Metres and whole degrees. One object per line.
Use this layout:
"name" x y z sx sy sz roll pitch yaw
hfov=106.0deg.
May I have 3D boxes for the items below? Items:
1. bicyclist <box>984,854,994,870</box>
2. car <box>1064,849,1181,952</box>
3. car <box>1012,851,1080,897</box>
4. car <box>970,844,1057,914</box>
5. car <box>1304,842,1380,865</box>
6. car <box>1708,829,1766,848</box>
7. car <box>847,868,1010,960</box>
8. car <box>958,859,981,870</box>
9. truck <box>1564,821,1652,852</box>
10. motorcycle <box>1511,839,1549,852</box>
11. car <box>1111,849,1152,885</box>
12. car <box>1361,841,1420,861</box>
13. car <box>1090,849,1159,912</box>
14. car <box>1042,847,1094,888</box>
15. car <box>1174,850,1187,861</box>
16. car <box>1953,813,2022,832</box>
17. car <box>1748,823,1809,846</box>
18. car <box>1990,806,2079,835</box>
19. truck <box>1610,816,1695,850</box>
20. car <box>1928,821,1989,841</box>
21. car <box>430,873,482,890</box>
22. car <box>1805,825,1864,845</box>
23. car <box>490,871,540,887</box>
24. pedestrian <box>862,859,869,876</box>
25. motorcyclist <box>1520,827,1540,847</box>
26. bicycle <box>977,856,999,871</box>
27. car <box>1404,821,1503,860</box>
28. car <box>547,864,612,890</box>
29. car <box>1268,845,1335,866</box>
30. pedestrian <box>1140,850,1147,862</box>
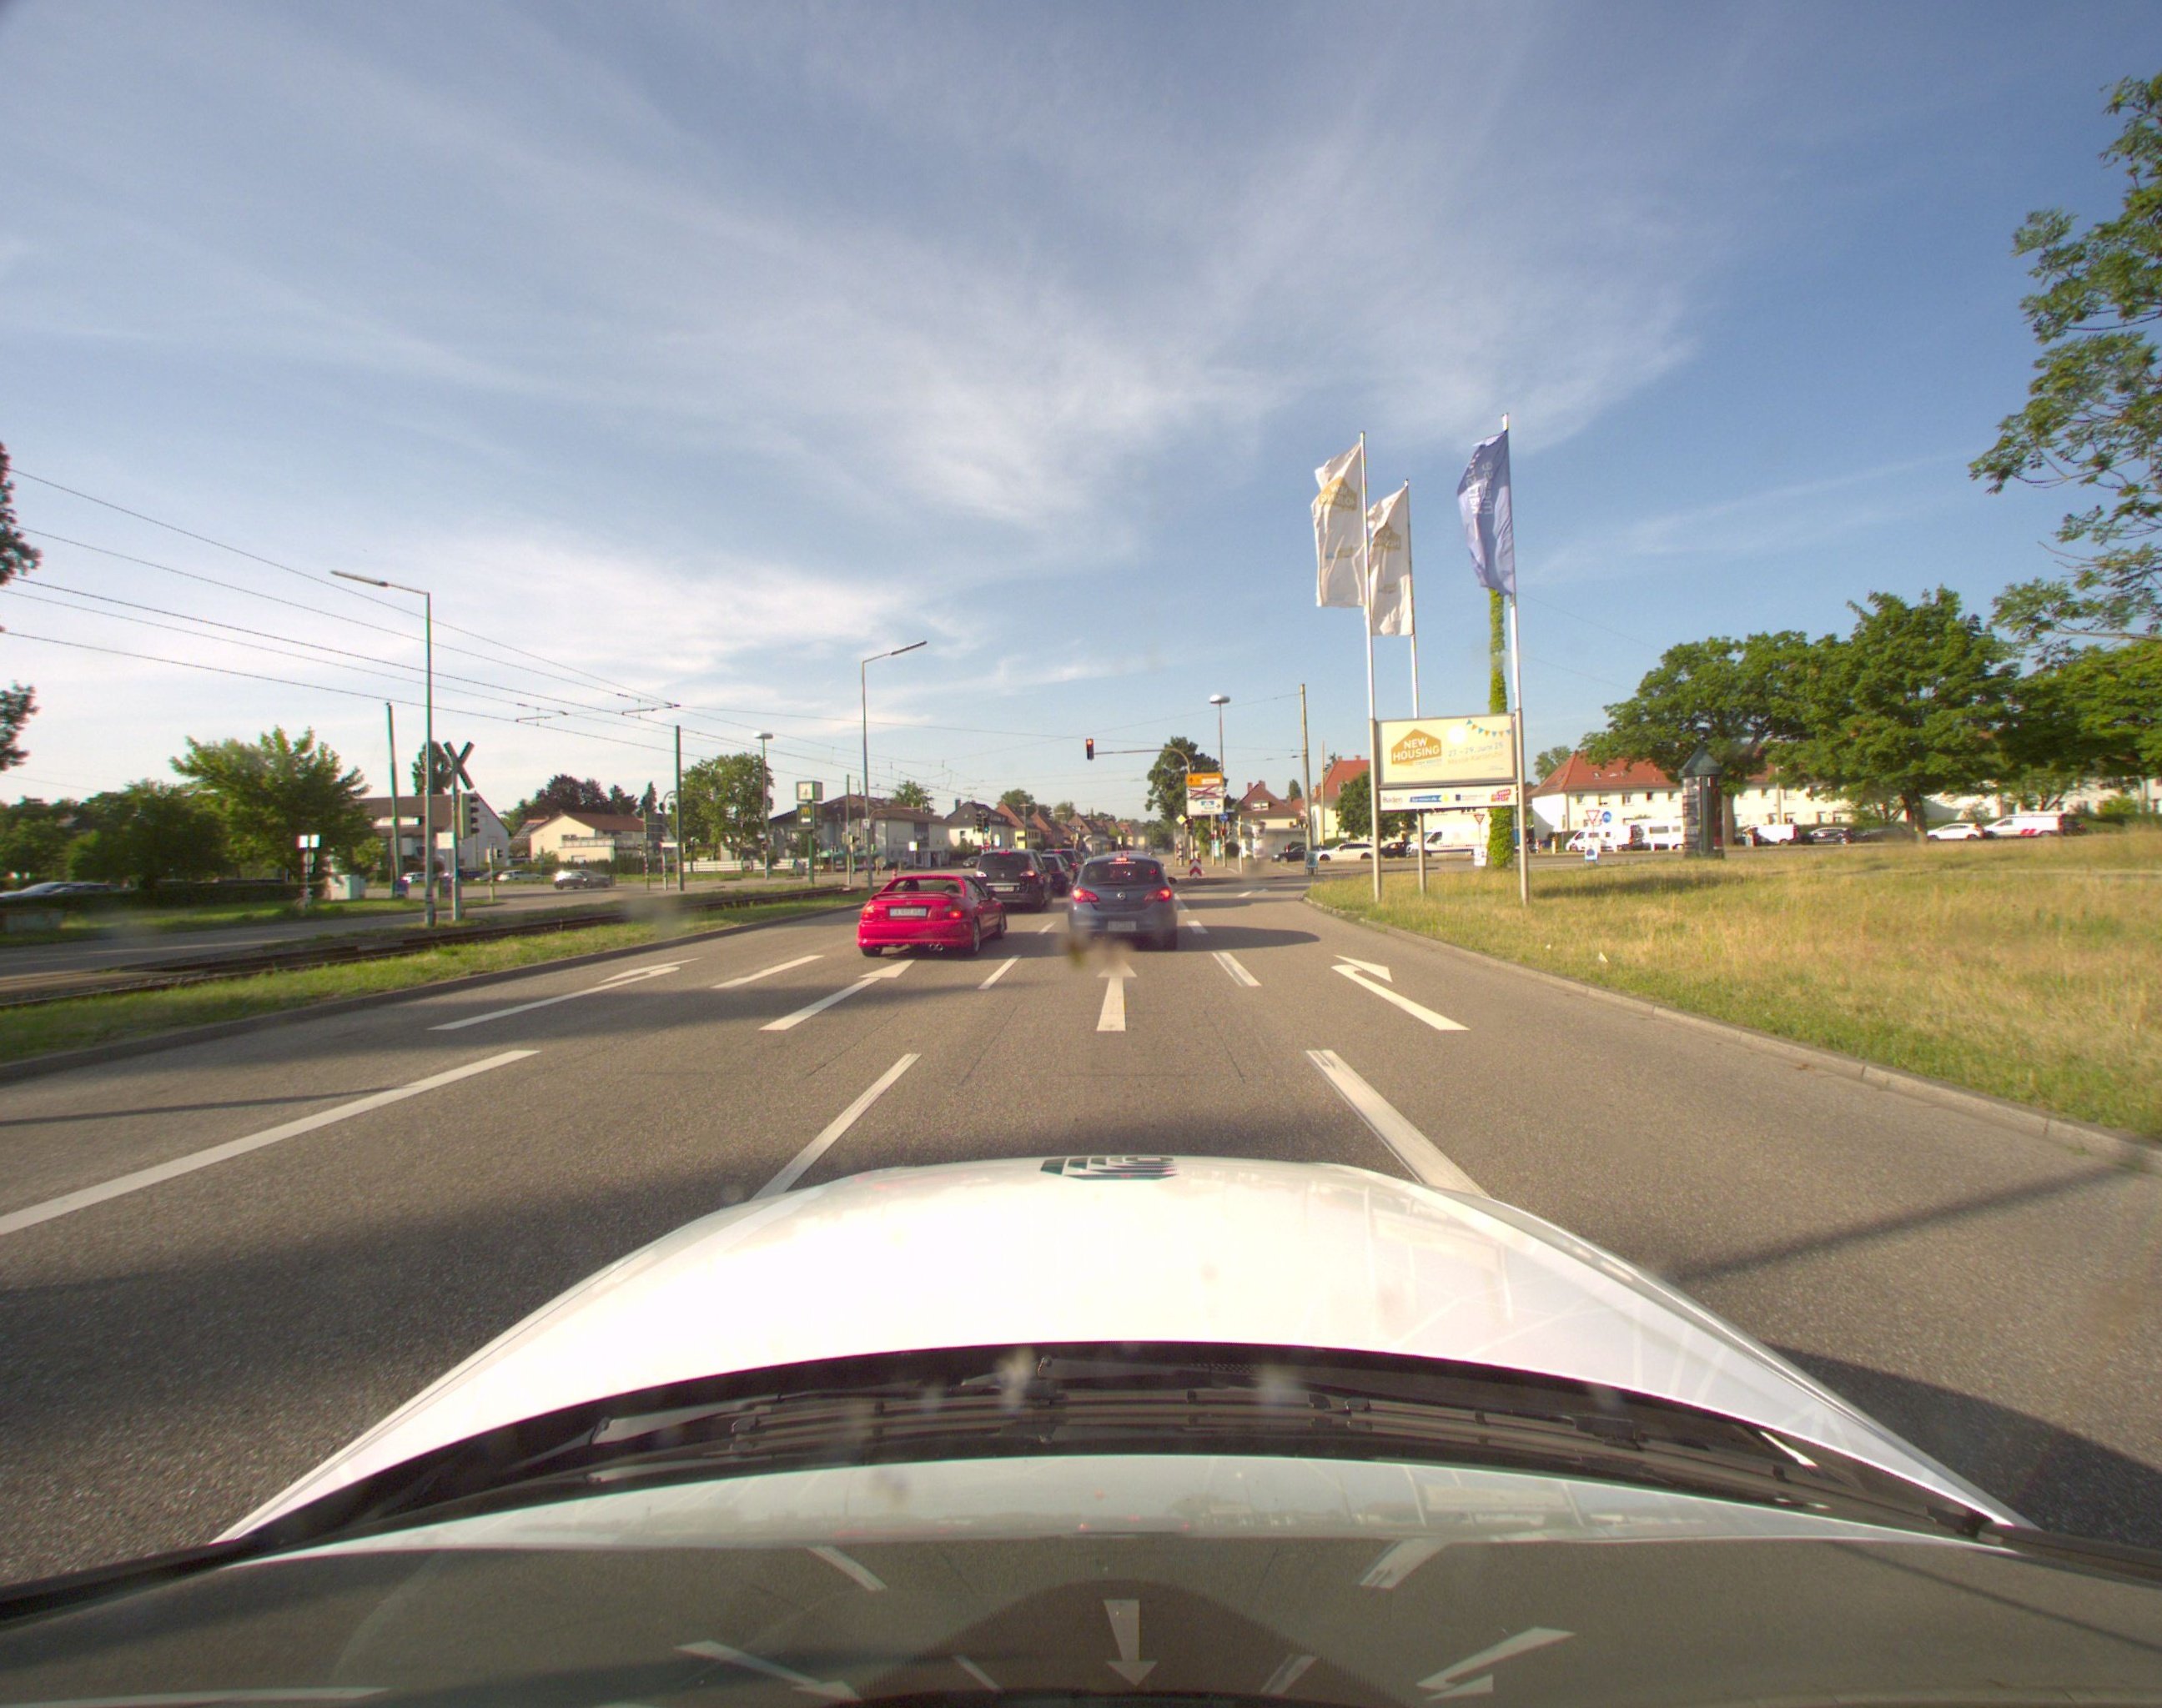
"bicyclist" -8.809 0.760 77.699 0.882 1.431 1.135 0 -1 -3
"car" 0.685 0.674 14.191 1.735 1.505 4.224 0 0 2
"car" -1.161 0.658 29.299 1.691 1.508 4.562 -1 0 7
"car" -1.720 0.608 21.920 1.756 1.670 4.087 -1 0 3
"car" 19.204 -0.042 60.131 5.068 1.563 1.843 -2 0 6
"car" 59.251 -1.395 73.607 1.907 1.456 3.861 -2 0 -43
"car" -2.305 0.874 13.337 1.724 1.206 3.850 0 0 3
"car" -14.332 1.315 104.696 1.652 1.346 4.090 -2 -1 11
"truck" 47.182 -1.534 73.081 2.284 2.524 6.298 -2 1 -29
"motorcycle" 32.077 -0.606 58.188 2.260 0.866 0.691 -2 0 4
"car" 2.238 0.528 35.890 1.649 1.443 4.018 -2 0 4
"car" 23.982 -0.226 63.236 3.966 1.453 1.719 -2 0 6
"car" 1.224 0.667 22.683 1.699 1.552 3.981 -2 0 3
"car" -0.500 0.552 36.435 1.498 1.651 4.755 -2 0 8
"car" 13.299 0.186 109.117 1.666 1.398 4.007 0 -1 6
"car" 95.052 -3.238 85.482 1.984 1.719 4.987 -2 0 5
"car" 62.637 -1.720 73.125 1.906 1.920 3.863 -2 0 -40
"car" 82.711 -2.883 70.713 2.010 2.232 4.921 -2 0 -40
"truck" 52.159 -1.867 74.430 1.906 2.854 6.007 -2 0 -40
"car" 76.499 -1.990 71.045 1.904 1.514 3.395 -2 0 -36
"car" -61.827 2.735 80.536 3.957 1.486 2.008 -2 0 15
"car" 66.489 -1.668 71.907 1.904 1.514 3.461 -2 0 -36
"car" -62.038 2.719 89.304 1.980 1.684 4.234 0 -1 12
"pedestrian" -20.880 1.306 78.933 0.509 1.599 0.540 -2 0 5
"motorcyclist" 32.054 -1.206 58.186 1.060 1.352 0.681 -2 0 5
"bicycle" -8.855 0.915 77.703 2.069 1.348 1.107 0 -1 -4
"car" 27.099 -0.964 59.444 6.177 2.583 2.003 -2 0 6
"car" -37.535 1.701 60.952 3.965 1.793 1.523 -2 0 7
"car" 17.285 0.123 63.972 4.799 1.411 1.719 -2 0 6
"pedestrian" 7.693 0.227 99.716 0.749 1.499 0.829 0 -1 8
